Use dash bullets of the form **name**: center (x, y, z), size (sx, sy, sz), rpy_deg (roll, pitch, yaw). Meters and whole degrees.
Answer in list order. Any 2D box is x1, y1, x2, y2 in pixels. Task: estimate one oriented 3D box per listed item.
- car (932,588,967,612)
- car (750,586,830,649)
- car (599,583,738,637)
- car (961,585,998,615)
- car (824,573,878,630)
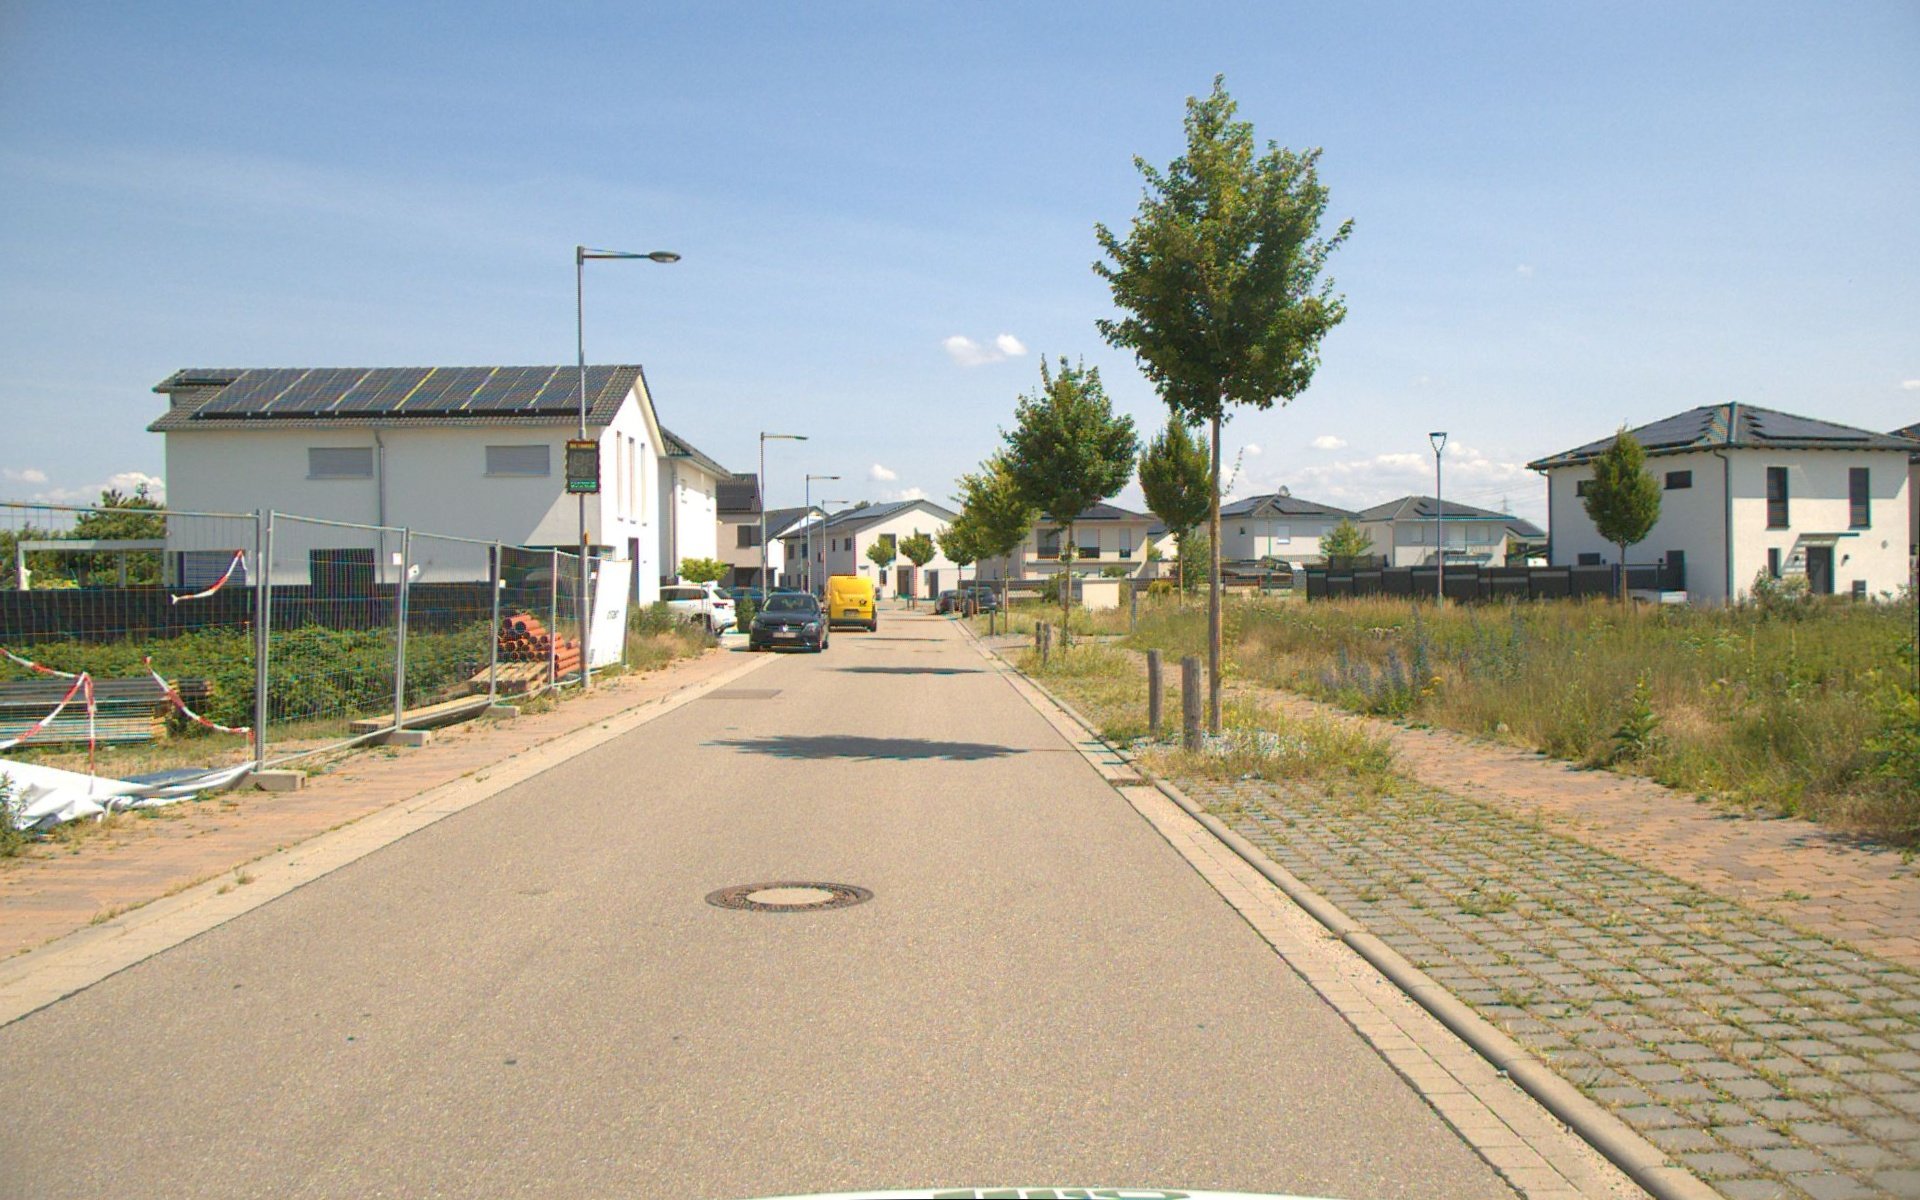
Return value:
- **car**: center (-0.666, 0.021, 100.838), size (1.597, 1.346, 3.826), rpy_deg (-1, -2, -8)
- **car**: center (-4.269, 0.415, 42.049), size (1.710, 1.429, 4.159), rpy_deg (2, 1, -2)
- **car**: center (-9.180, 0.301, 52.262), size (3.983, 1.609, 1.785), rpy_deg (1, 1, 4)
- **car**: center (0.955, 0.020, 82.266), size (1.606, 1.427, 3.808), rpy_deg (-1, -1, -2)
- **car**: center (-4.112, 0.069, 62.049), size (1.904, 2.016, 4.212), rpy_deg (-1, 0, -5)
